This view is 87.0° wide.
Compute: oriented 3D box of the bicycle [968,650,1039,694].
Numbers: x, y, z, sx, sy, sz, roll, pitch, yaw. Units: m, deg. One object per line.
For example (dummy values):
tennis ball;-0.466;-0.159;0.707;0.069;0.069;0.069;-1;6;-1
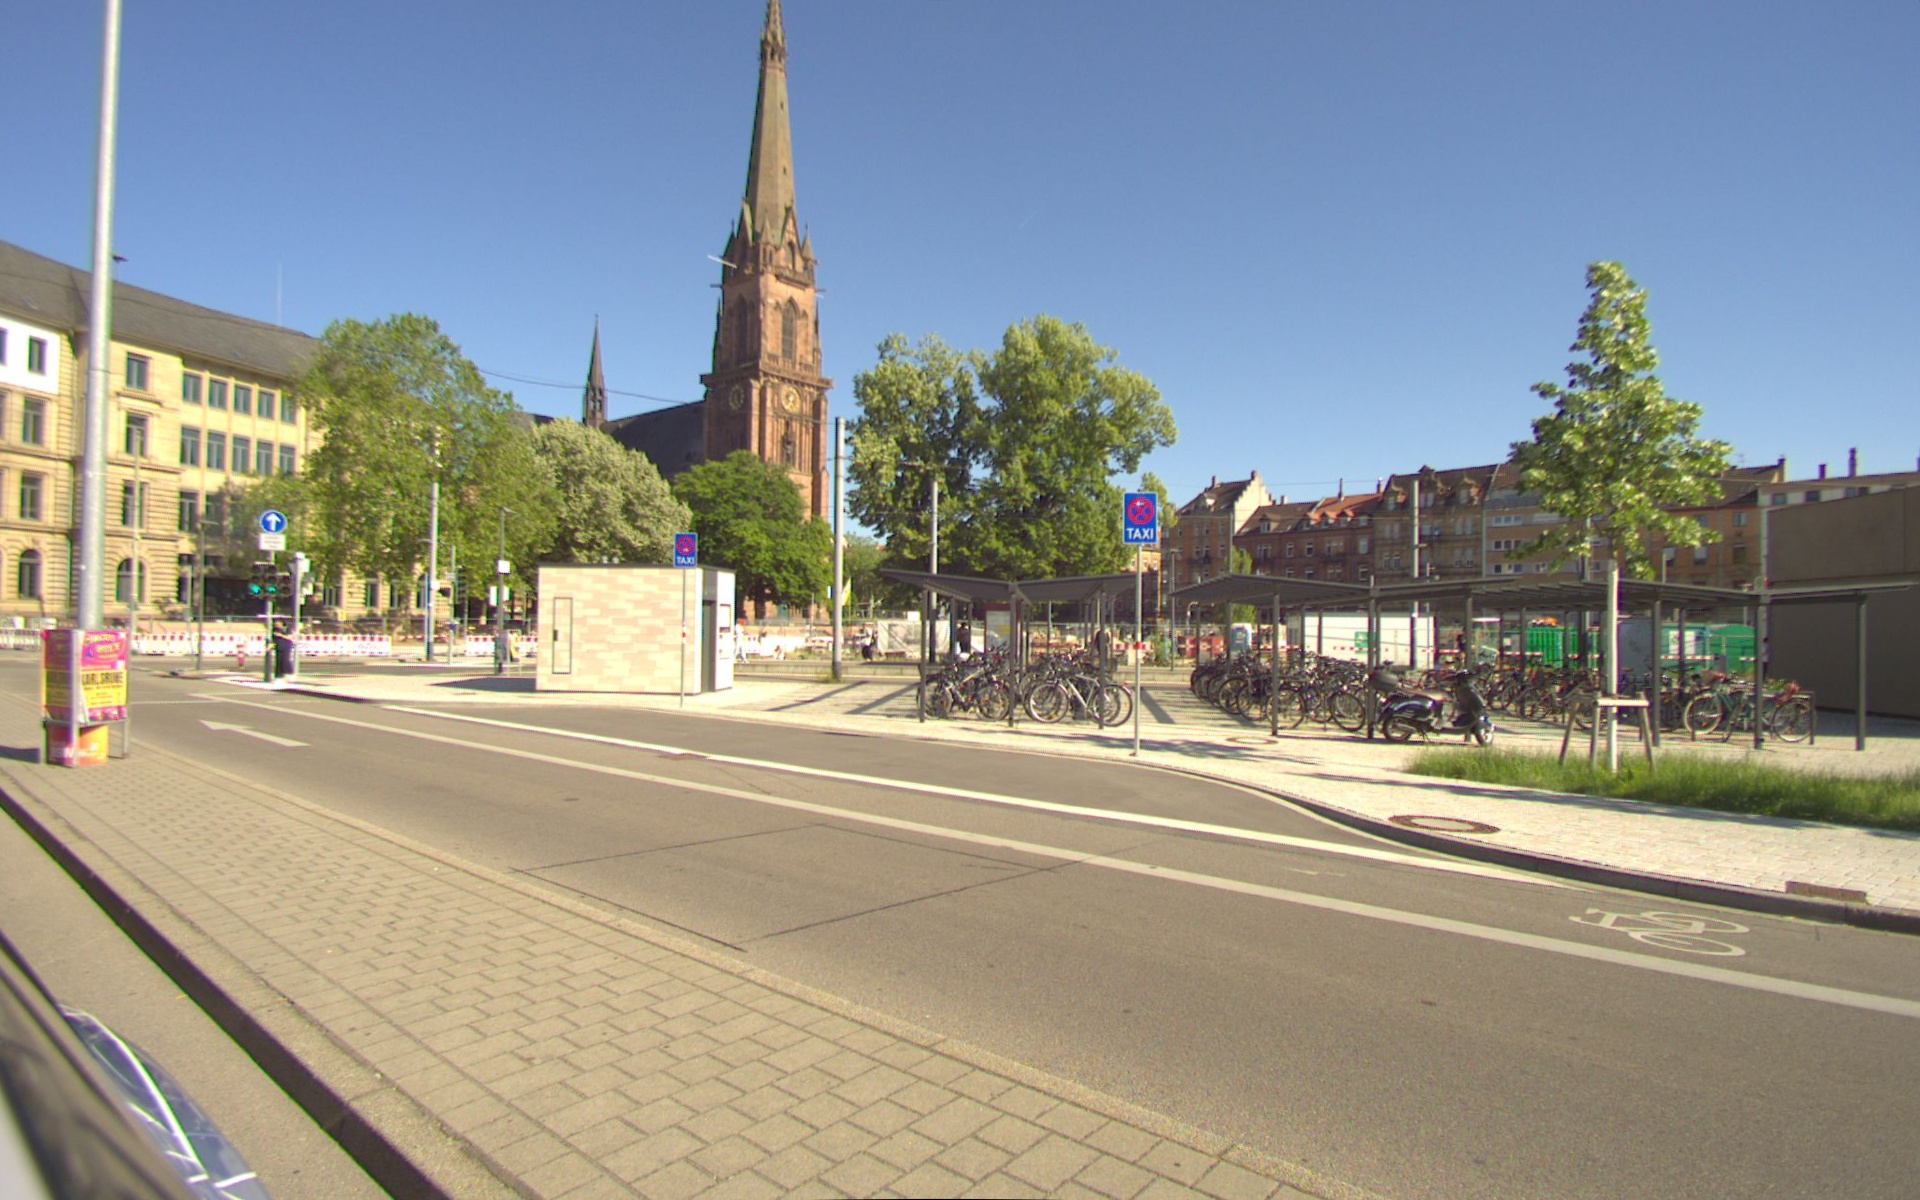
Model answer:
bicycle;1.048;1.716;24.225;1.652;1.016;0.456;0;-2;8

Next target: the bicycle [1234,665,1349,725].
bicycle;5.905;1.684;18.091;1.882;1.016;0.456;0;-2;8

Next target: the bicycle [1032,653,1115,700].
bicycle;2.612;1.749;23.302;1.882;1.016;0.456;0;-2;8

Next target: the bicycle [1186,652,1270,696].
bicycle;6.400;1.764;24.224;1.882;1.016;0.456;0;-2;8

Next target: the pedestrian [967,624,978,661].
pedestrian;0.593;1.996;47.615;0.399;1.734;0.419;1;-2;-11

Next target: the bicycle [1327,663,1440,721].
bicycle;7.924;1.713;18.994;1.882;1.016;0.456;0;-2;8

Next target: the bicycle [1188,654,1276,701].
bicycle;6.155;1.739;22.941;1.882;1.016;0.456;0;-2;8

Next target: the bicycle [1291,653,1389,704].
bicycle;8.063;1.662;21.518;1.882;1.016;0.456;0;-2;8

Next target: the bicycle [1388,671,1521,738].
bicycle;8.034;1.693;16.492;1.882;1.016;0.456;0;-2;8

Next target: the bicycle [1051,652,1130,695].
bicycle;3.168;1.778;24.598;1.882;1.016;0.456;0;-2;8

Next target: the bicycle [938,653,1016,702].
bicycle;0.377;1.692;22.223;1.652;1.016;0.456;0;-2;8

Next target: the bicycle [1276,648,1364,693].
bicycle;8.493;1.654;23.908;1.882;1.016;0.456;0;-2;8

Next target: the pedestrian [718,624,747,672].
pedestrian;-8.496;1.782;37.844;0.792;1.793;0.977;0;-2;3

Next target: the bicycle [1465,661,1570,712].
bicycle;11.720;1.816;21.311;1.882;1.016;0.456;0;-2;8

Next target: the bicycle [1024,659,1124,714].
bicycle;2.202;1.660;19.583;1.882;1.016;0.456;0;-2;8

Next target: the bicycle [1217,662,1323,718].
bicycle;5.903;1.709;19.321;1.882;1.016;0.456;0;-2;8

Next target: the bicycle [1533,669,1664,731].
bicycle;11.106;1.733;17.640;1.882;1.016;0.456;0;-2;8

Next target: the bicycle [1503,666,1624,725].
bicycle;11.170;1.757;18.756;1.882;1.016;0.456;0;-2;8

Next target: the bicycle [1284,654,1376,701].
bicycle;8.322;1.736;22.816;1.882;1.016;0.456;0;-2;8

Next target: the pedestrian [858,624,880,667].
pedestrian;-3.787;1.882;42.109;0.792;1.793;0.977;0;-2;3

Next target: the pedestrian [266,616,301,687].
pedestrian;-17.979;1.361;26.889;0.683;1.868;0.680;2;-2;-37

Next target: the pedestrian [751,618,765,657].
pedestrian;-11.221;2.083;56.307;0.545;2.171;0.568;0;-2;15

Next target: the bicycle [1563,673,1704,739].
bicycle;10.978;1.719;16.535;1.882;1.016;0.456;0;-2;8

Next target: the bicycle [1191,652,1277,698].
bicycle;6.372;1.733;23.565;1.882;1.016;0.456;0;-2;8

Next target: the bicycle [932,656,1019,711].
bicycle;0.311;1.631;19.886;1.652;1.016;0.456;0;-2;8

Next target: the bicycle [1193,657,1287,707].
bicycle;5.971;1.748;21.608;1.882;1.016;0.456;0;-2;8

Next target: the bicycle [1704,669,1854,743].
bicycle;13.088;1.686;16.204;1.882;1.106;0.456;0;-2;8

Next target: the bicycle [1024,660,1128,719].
bicycle;2.143;1.646;18.742;1.882;1.016;0.456;0;-2;8

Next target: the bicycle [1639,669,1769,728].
bicycle;13.475;1.778;18.362;1.882;1.016;0.456;0;-2;8

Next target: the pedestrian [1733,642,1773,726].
pedestrian;19.726;2.079;25.173;0.718;2.029;0.678;-1;-2;41

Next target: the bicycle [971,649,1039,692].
bicycle;1.113;1.731;24.941;1.652;1.016;0.456;0;-2;8

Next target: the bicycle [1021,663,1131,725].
bicycle;2.025;1.625;17.672;1.882;1.016;0.456;0;-2;8

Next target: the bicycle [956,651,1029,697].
bicycle;0.752;1.711;23.480;1.652;1.016;0.456;0;-2;8

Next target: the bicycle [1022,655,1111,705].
bicycle;2.303;1.723;21.919;1.882;1.016;0.456;0;-2;8

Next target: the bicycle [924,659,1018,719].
bicycle;0.207;1.587;18.190;1.652;1.016;0.456;0;-2;8

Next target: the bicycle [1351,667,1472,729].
bicycle;7.900;1.710;17.761;1.882;1.016;0.456;0;-2;8

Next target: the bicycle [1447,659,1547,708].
bicycle;11.790;1.826;22.241;1.882;1.016;0.456;0;-2;8

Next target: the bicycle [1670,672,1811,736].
bicycle;13.134;1.744;17.064;1.882;1.016;0.456;0;-2;8

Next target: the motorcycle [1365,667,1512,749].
motorcycle;7.167;1.603;15.224;1.924;1.160;0.516;0;-2;6

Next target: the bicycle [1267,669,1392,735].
bicycle;6.127;1.683;16.838;1.882;1.016;0.456;0;-2;8

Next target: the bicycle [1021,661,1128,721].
bicycle;2.060;1.634;18.260;1.882;1.016;0.456;0;-2;8

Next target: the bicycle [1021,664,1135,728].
bicycle;1.995;1.603;17.112;1.882;1.016;0.456;0;-2;8

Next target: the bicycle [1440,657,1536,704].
bicycle;12.085;1.837;23.192;1.882;1.016;0.456;0;-2;8

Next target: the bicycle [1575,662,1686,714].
bicycle;13.879;1.819;20.969;1.882;1.016;0.456;0;-2;8

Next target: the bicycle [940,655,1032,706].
bicycle;0.549;1.676;21.225;1.882;1.016;0.456;0;-2;8

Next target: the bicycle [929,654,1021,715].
bicycle;0.286;1.560;18.775;1.652;1.069;0.456;0;-2;8
